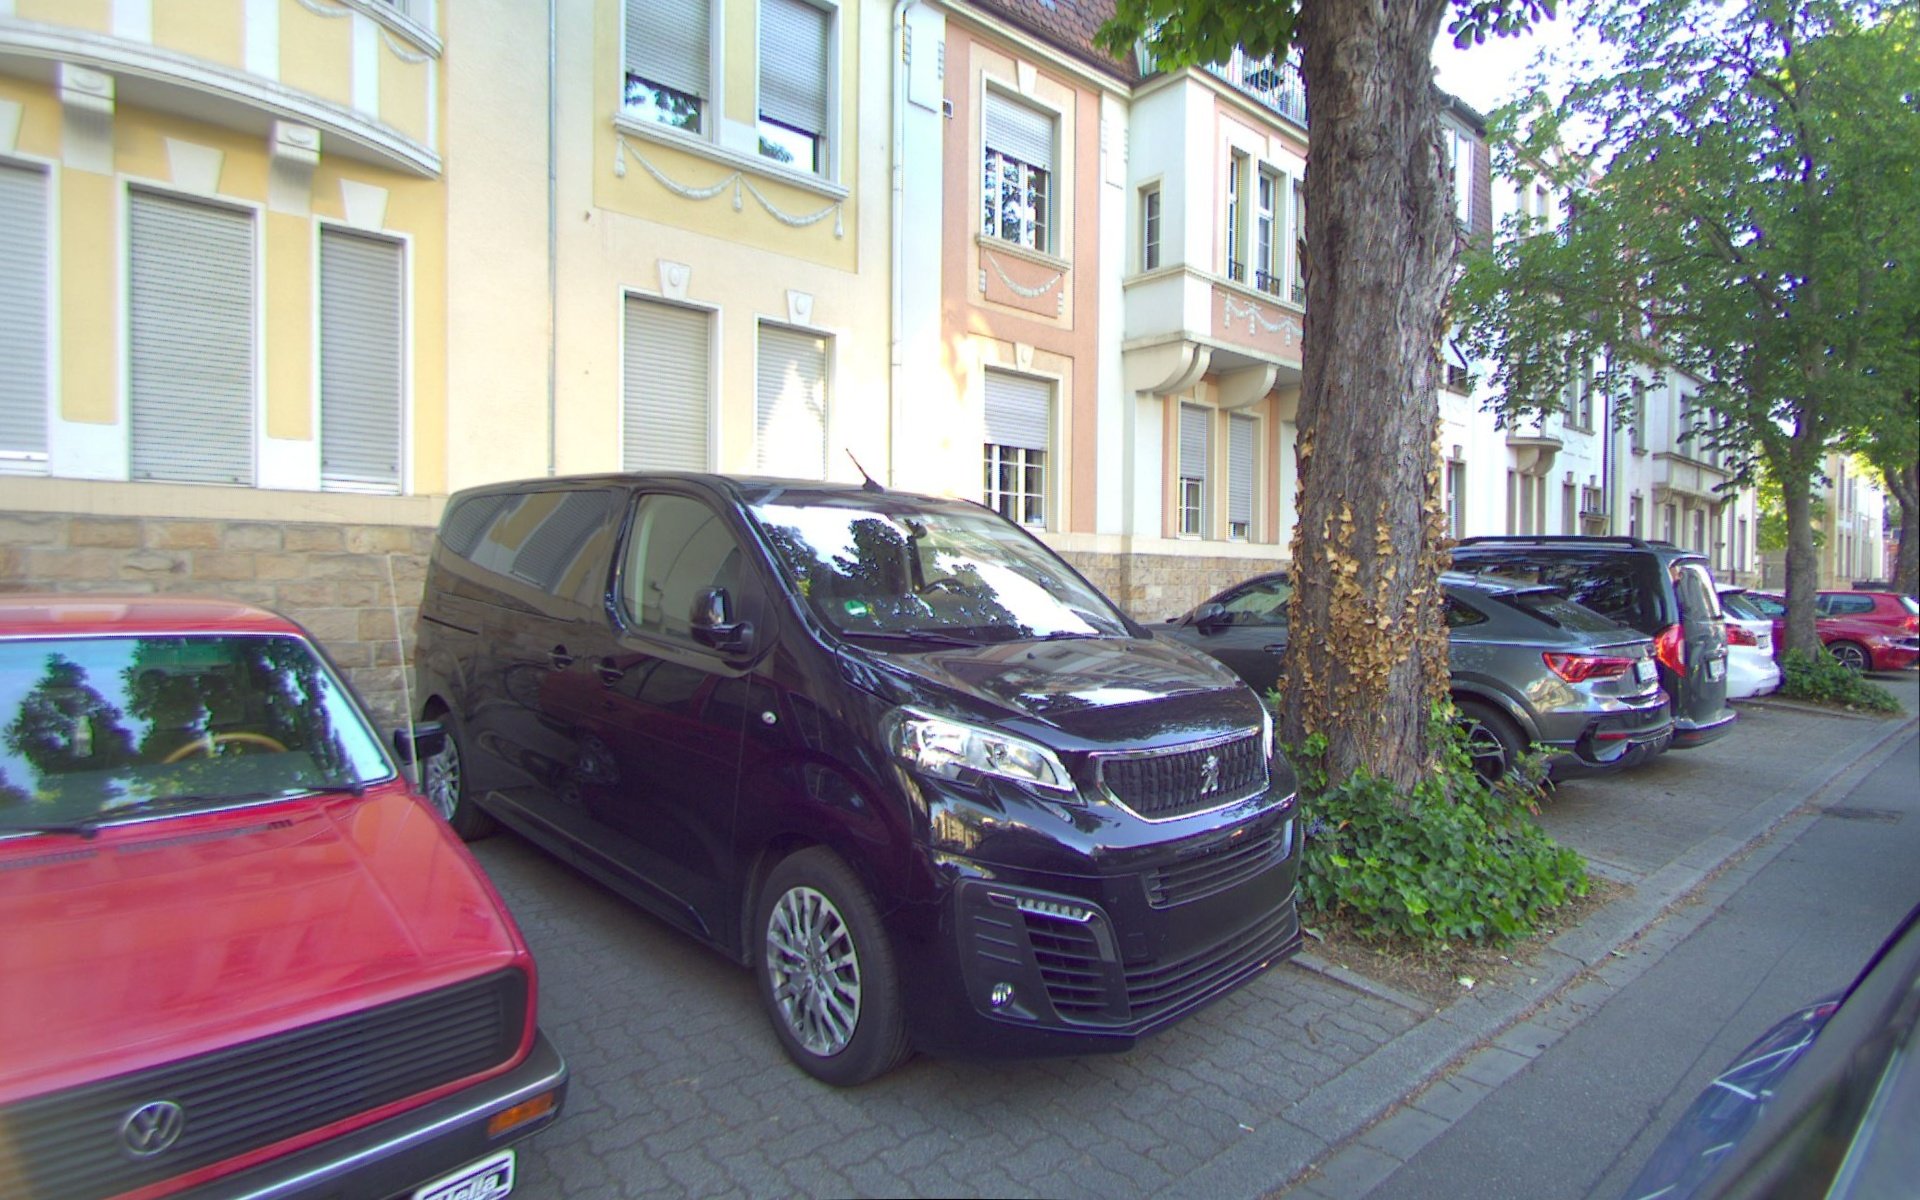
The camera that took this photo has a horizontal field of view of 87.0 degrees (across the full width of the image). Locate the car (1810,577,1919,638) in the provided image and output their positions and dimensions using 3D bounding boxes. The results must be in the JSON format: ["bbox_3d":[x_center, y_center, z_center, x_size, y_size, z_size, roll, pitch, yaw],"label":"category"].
[{"bbox_3d":[26.073,0.216,28.057,1.511,1.584,3.621,0,2,-40],"label":"car"}]

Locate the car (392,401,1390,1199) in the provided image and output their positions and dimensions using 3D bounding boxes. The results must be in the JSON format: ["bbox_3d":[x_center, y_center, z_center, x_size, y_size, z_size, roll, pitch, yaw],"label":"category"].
[{"bbox_3d":[-0.855,0.341,4.621,1.851,1.846,4.825,-1,4,-44],"label":"car"}]

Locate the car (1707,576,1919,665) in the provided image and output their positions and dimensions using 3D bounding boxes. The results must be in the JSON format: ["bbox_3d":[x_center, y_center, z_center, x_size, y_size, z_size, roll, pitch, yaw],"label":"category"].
[{"bbox_3d":[17.007,0.344,19.751,1.511,1.482,3.621,0,3,-40],"label":"car"}]

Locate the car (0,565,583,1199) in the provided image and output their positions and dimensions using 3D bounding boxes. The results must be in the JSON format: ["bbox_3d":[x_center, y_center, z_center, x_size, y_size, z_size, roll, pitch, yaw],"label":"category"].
[{"bbox_3d":[-2.688,0.616,3.081,1.532,1.336,3.917,-1,4,-43],"label":"car"}]

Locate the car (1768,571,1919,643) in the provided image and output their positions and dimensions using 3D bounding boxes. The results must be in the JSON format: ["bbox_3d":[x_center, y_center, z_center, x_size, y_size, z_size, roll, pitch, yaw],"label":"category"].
[{"bbox_3d":[21.769,0.150,24.170,1.511,1.584,3.621,0,2,-40],"label":"car"}]

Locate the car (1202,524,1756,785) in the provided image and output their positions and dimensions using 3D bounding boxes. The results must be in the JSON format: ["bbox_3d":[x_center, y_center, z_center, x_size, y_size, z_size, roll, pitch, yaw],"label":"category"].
[{"bbox_3d":[4.453,0.263,9.192,1.569,1.849,4.165,-1,4,-44],"label":"car"}]

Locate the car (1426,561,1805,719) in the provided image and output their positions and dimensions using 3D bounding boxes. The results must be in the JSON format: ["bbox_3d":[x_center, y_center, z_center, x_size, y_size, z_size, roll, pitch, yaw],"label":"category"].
[{"bbox_3d":[7.871,0.359,12.379,1.513,1.569,3.616,-1,3,-45],"label":"car"}]

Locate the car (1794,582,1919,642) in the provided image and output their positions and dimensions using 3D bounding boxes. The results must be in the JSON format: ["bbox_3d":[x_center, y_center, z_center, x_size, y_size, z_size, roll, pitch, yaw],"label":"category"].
[{"bbox_3d":[24.141,0.300,26.252,1.511,1.420,3.621,0,2,-40],"label":"car"}]

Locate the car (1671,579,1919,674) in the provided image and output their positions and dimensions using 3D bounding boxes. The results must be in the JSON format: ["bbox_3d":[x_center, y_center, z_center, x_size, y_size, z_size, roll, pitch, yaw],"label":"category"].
[{"bbox_3d":[15.111,0.400,18.100,1.511,1.420,3.621,0,3,-40],"label":"car"}]

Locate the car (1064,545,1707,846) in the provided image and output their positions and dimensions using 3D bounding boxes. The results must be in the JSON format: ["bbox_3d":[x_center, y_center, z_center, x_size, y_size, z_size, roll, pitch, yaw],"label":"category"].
[{"bbox_3d":[2.902,0.434,7.628,1.569,1.611,4.165,-1,4,-44],"label":"car"}]
